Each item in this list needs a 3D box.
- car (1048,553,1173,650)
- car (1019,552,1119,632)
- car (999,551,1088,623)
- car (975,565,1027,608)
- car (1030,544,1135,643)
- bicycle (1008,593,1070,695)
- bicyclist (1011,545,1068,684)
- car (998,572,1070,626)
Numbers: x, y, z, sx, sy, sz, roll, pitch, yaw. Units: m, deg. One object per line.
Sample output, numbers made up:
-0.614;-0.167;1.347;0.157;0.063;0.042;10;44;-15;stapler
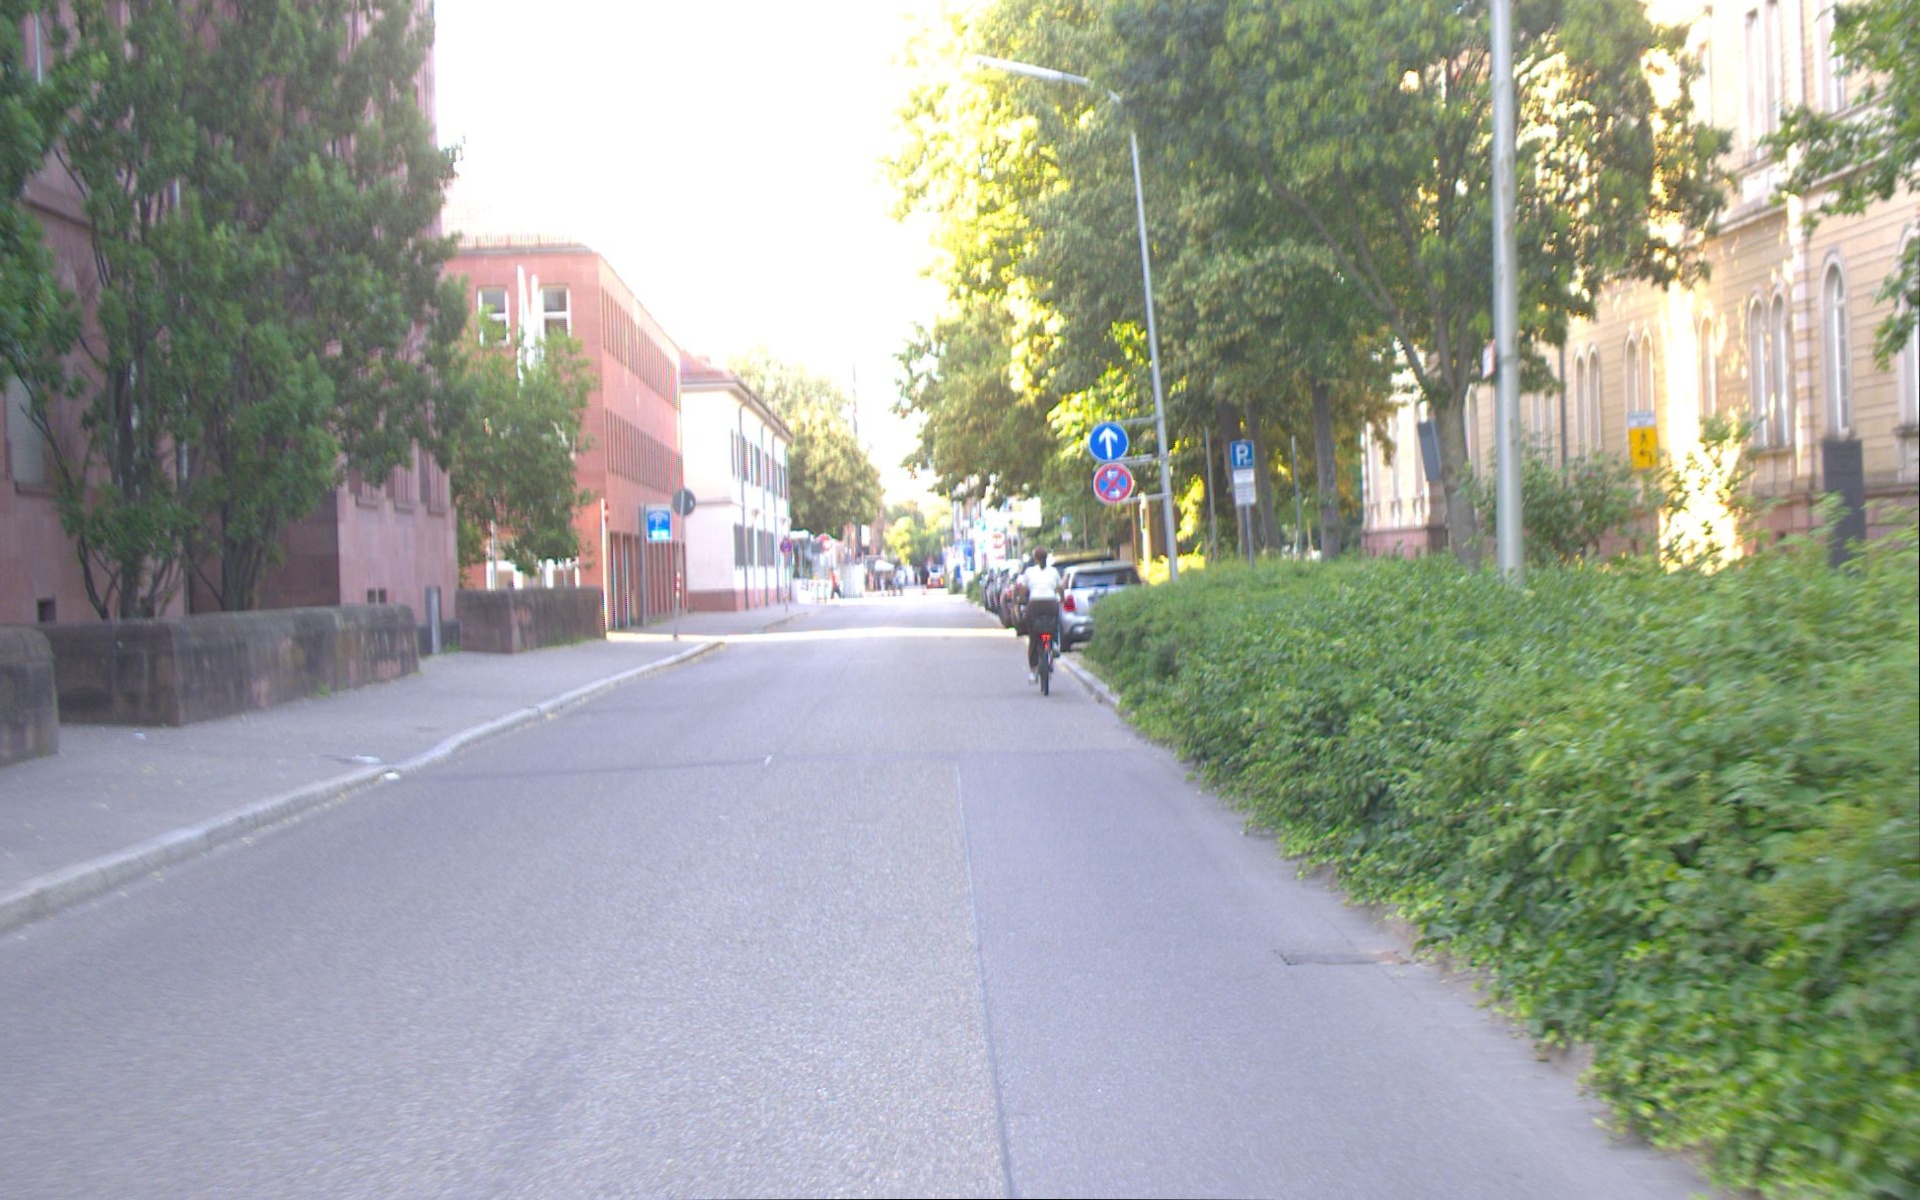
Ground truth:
2.487;0.031;57.530;1.685;1.442;3.672;-4;0;-2;car
2.230;-0.178;71.236;1.715;1.532;4.049;-2;1;-2;car
2.088;-0.355;87.226;1.993;1.700;4.000;-2;1;-1;car
1.725;-0.580;145.666;1.993;1.743;4.000;-2;1;-1;car
2.224;-0.144;63.471;1.715;1.706;4.473;-2;1;0;car
0.954;0.517;41.771;0.638;1.189;1.876;0;1;-2;bicycle
0.958;0.166;41.669;0.639;1.662;0.843;0;1;-2;bicyclist
2.303;-0.055;107.657;1.993;1.579;4.000;-2;1;-1;car
